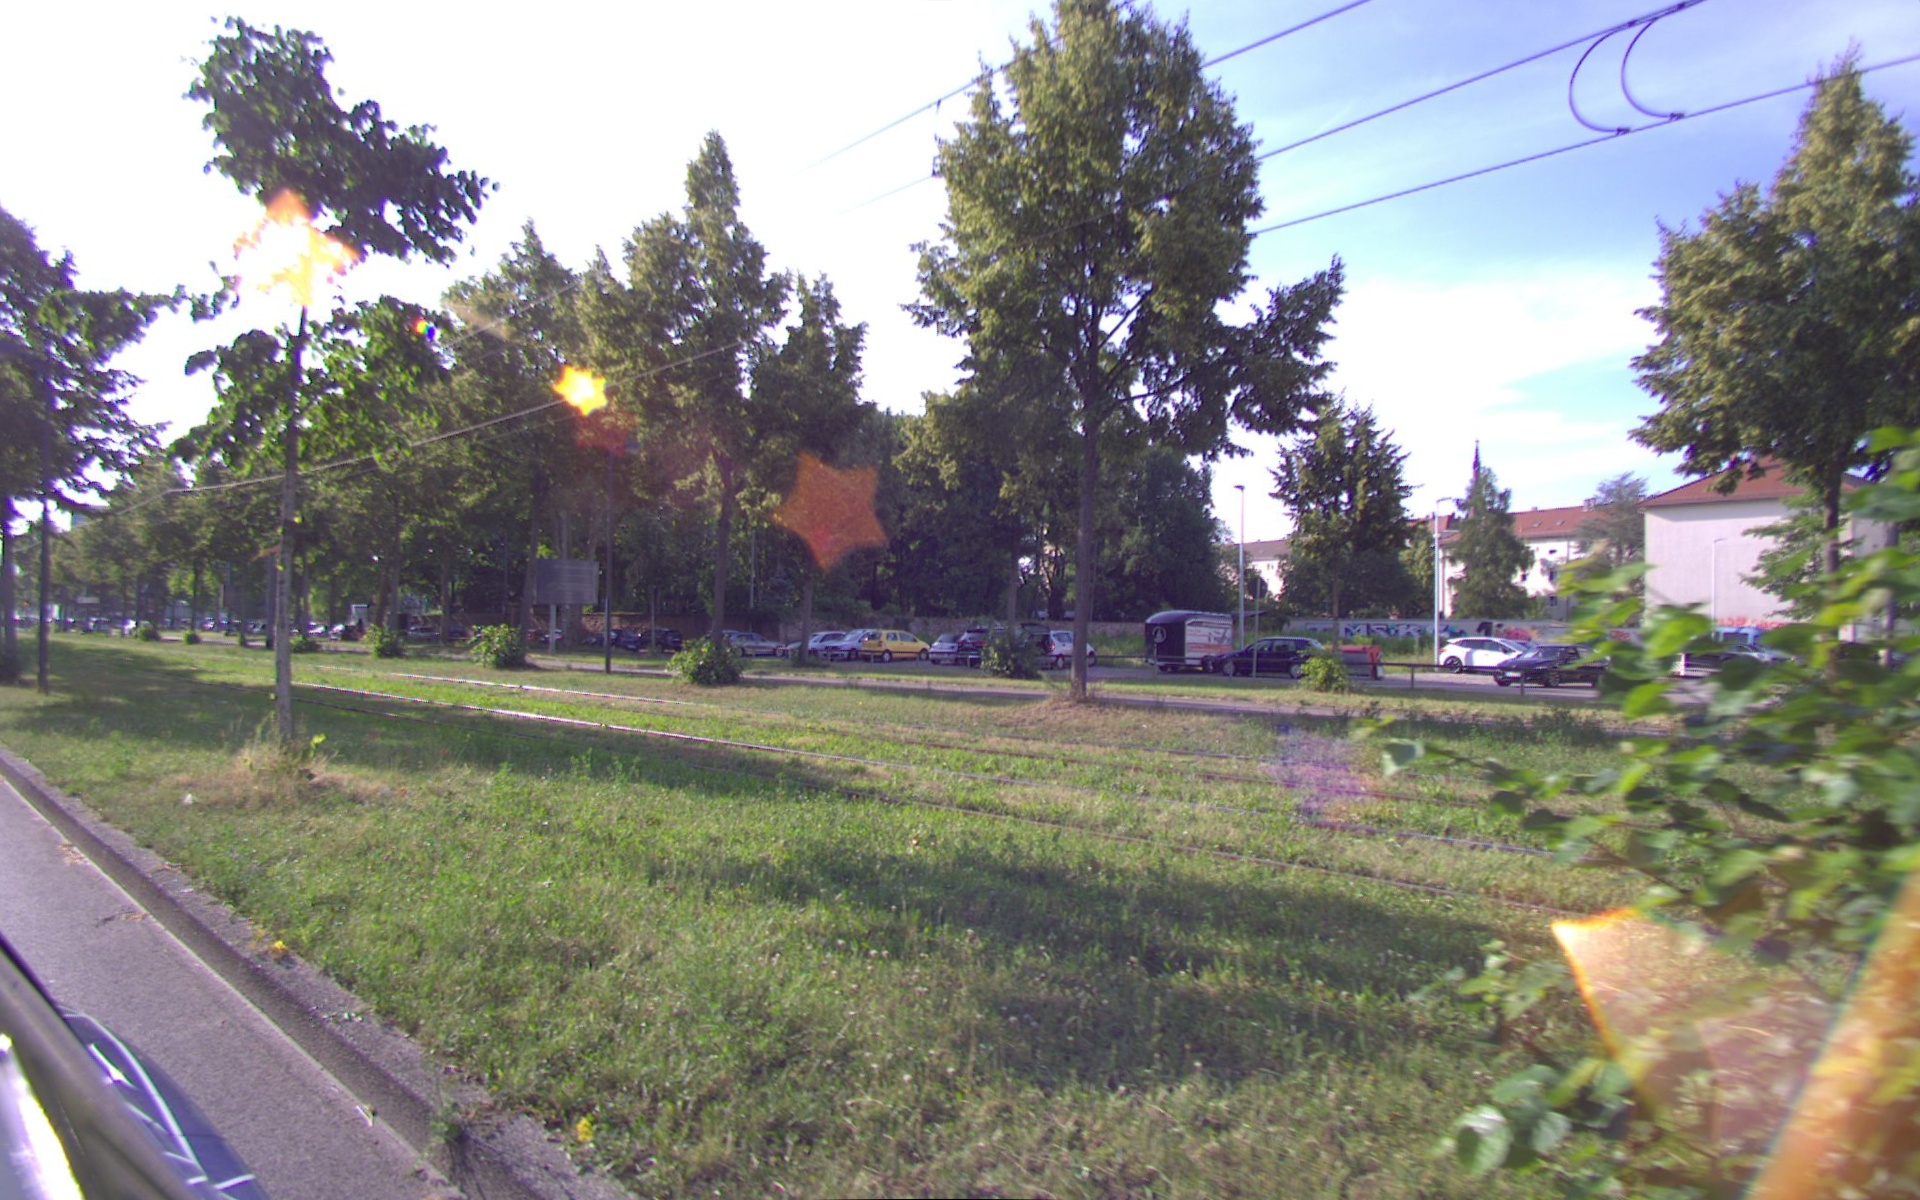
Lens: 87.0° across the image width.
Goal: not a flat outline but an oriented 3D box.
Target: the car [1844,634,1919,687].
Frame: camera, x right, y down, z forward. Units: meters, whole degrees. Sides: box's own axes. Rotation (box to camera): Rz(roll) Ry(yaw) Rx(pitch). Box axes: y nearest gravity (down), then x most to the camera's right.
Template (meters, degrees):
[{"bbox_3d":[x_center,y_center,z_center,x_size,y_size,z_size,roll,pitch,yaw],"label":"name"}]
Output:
[{"bbox_3d":[33.087,2.086,34.561,1.829,1.684,4.011,0,0,-33],"label":"car"}]

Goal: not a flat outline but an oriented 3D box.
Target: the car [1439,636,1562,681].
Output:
[{"bbox_3d":[21.859,2.321,41.063,1.824,1.608,4.008,0,0,-38],"label":"car"}]

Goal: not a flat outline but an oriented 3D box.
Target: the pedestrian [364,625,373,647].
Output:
[{"bbox_3d":[-39.835,2.434,68.150,0.601,1.487,0.382,-1,0,41],"label":"pedestrian"}]

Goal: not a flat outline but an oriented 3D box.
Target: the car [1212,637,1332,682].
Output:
[{"bbox_3d":[11.134,2.104,36.236,3.757,1.404,1.663,0,0,38],"label":"car"}]

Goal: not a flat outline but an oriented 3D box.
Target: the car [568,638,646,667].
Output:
[{"bbox_3d":[-19.710,2.915,56.528,4.006,1.446,1.676,0,0,21],"label":"car"}]

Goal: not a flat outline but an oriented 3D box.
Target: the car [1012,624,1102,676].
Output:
[{"bbox_3d":[4.086,2.021,42.377,1.757,1.962,3.950,-1,0,42],"label":"car"}]

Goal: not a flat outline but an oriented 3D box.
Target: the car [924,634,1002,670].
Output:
[{"bbox_3d":[0.180,2.378,46.796,1.725,1.436,3.529,-1,0,42],"label":"car"}]

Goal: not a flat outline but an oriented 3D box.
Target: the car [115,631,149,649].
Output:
[{"bbox_3d":[-78.220,3.772,95.544,4.811,1.487,1.664,0,-4,42],"label":"car"}]

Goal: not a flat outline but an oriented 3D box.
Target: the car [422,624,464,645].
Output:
[{"bbox_3d":[-44.699,2.967,87.419,4.474,1.624,1.810,0,0,43],"label":"car"}]

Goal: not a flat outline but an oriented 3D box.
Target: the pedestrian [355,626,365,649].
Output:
[{"bbox_3d":[-40.209,2.527,67.817,0.601,1.487,0.382,-1,0,41],"label":"pedestrian"}]

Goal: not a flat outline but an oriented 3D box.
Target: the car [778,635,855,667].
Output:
[{"bbox_3d":[-7.447,2.629,52.749,1.810,1.439,3.606,-1,0,44],"label":"car"}]

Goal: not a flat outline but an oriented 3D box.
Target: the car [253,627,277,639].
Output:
[{"bbox_3d":[-69.753,3.313,101.555,3.773,1.116,1.284,0,0,44],"label":"car"}]

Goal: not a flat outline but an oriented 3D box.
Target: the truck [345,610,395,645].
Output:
[{"bbox_3d":[-63.161,2.906,108.195,2.855,3.542,7.951,0,0,-44],"label":"truck"}]

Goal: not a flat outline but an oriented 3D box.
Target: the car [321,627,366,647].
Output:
[{"bbox_3d":[-47.269,2.802,77.580,4.474,1.442,1.810,0,0,43],"label":"car"}]

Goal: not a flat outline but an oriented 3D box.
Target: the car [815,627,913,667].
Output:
[{"bbox_3d":[-4.845,2.350,51.618,1.886,1.748,5.004,-1,0,43],"label":"car"}]

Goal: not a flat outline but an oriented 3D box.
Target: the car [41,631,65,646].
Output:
[{"bbox_3d":[-102.586,4.368,114.448,4.131,1.544,1.593,0,0,42],"label":"car"}]

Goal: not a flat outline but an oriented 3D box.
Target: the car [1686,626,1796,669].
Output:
[{"bbox_3d":[43.091,2.590,55.936,1.824,2.175,4.505,0,0,-36],"label":"car"}]

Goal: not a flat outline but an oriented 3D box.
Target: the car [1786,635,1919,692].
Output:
[{"bbox_3d":[30.241,2.065,33.586,1.829,1.684,4.011,0,0,-33],"label":"car"}]

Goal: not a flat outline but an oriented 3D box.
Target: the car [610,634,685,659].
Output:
[{"bbox_3d":[-19.747,2.935,64.042,4.326,1.453,1.781,0,0,19],"label":"car"}]

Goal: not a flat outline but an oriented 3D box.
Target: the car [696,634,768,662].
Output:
[{"bbox_3d":[-13.496,2.824,60.103,3.810,1.497,1.746,0,0,-41],"label":"car"}]

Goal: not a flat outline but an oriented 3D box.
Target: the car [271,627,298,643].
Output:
[{"bbox_3d":[-62.537,3.216,93.651,1.563,1.286,3.964,0,0,-42],"label":"car"}]

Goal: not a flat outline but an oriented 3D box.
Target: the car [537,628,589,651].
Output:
[{"bbox_3d":[-27.780,2.746,70.721,4.362,1.453,1.766,0,0,44],"label":"car"}]

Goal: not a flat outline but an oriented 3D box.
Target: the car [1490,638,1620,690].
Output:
[{"bbox_3d":[19.376,2.037,32.922,3.931,1.437,1.782,0,0,-26],"label":"car"}]

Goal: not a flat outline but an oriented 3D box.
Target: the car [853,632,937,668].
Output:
[{"bbox_3d":[-3.157,2.432,49.973,1.856,1.572,3.943,-1,0,44],"label":"car"}]

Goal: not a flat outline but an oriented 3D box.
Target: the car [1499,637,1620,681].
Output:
[{"bbox_3d":[24.897,2.417,42.161,1.662,1.569,4.009,0,0,-36],"label":"car"}]

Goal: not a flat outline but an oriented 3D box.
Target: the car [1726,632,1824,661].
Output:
[{"bbox_3d":[51.295,2.883,63.764,1.675,1.640,4.505,0,0,-36],"label":"car"}]

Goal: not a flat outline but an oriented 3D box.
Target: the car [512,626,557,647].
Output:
[{"bbox_3d":[-31.595,2.709,75.097,3.912,1.453,1.699,0,0,44],"label":"car"}]

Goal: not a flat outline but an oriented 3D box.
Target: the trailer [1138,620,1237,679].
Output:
[{"bbox_3d":[8.839,1.856,39.117,1.758,2.069,4.315,-1,0,44],"label":"trailer"}]

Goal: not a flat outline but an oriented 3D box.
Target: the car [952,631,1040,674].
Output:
[{"bbox_3d":[1.634,2.257,44.540,1.757,1.655,3.950,-1,0,42],"label":"car"}]

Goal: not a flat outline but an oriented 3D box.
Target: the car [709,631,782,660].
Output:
[{"bbox_3d":[-12.376,2.576,58.465,3.810,1.497,1.746,0,0,-41],"label":"car"}]

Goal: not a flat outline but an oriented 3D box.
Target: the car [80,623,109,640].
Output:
[{"bbox_3d":[-79.206,2.884,92.596,3.695,1.403,1.566,0,0,42],"label":"car"}]
